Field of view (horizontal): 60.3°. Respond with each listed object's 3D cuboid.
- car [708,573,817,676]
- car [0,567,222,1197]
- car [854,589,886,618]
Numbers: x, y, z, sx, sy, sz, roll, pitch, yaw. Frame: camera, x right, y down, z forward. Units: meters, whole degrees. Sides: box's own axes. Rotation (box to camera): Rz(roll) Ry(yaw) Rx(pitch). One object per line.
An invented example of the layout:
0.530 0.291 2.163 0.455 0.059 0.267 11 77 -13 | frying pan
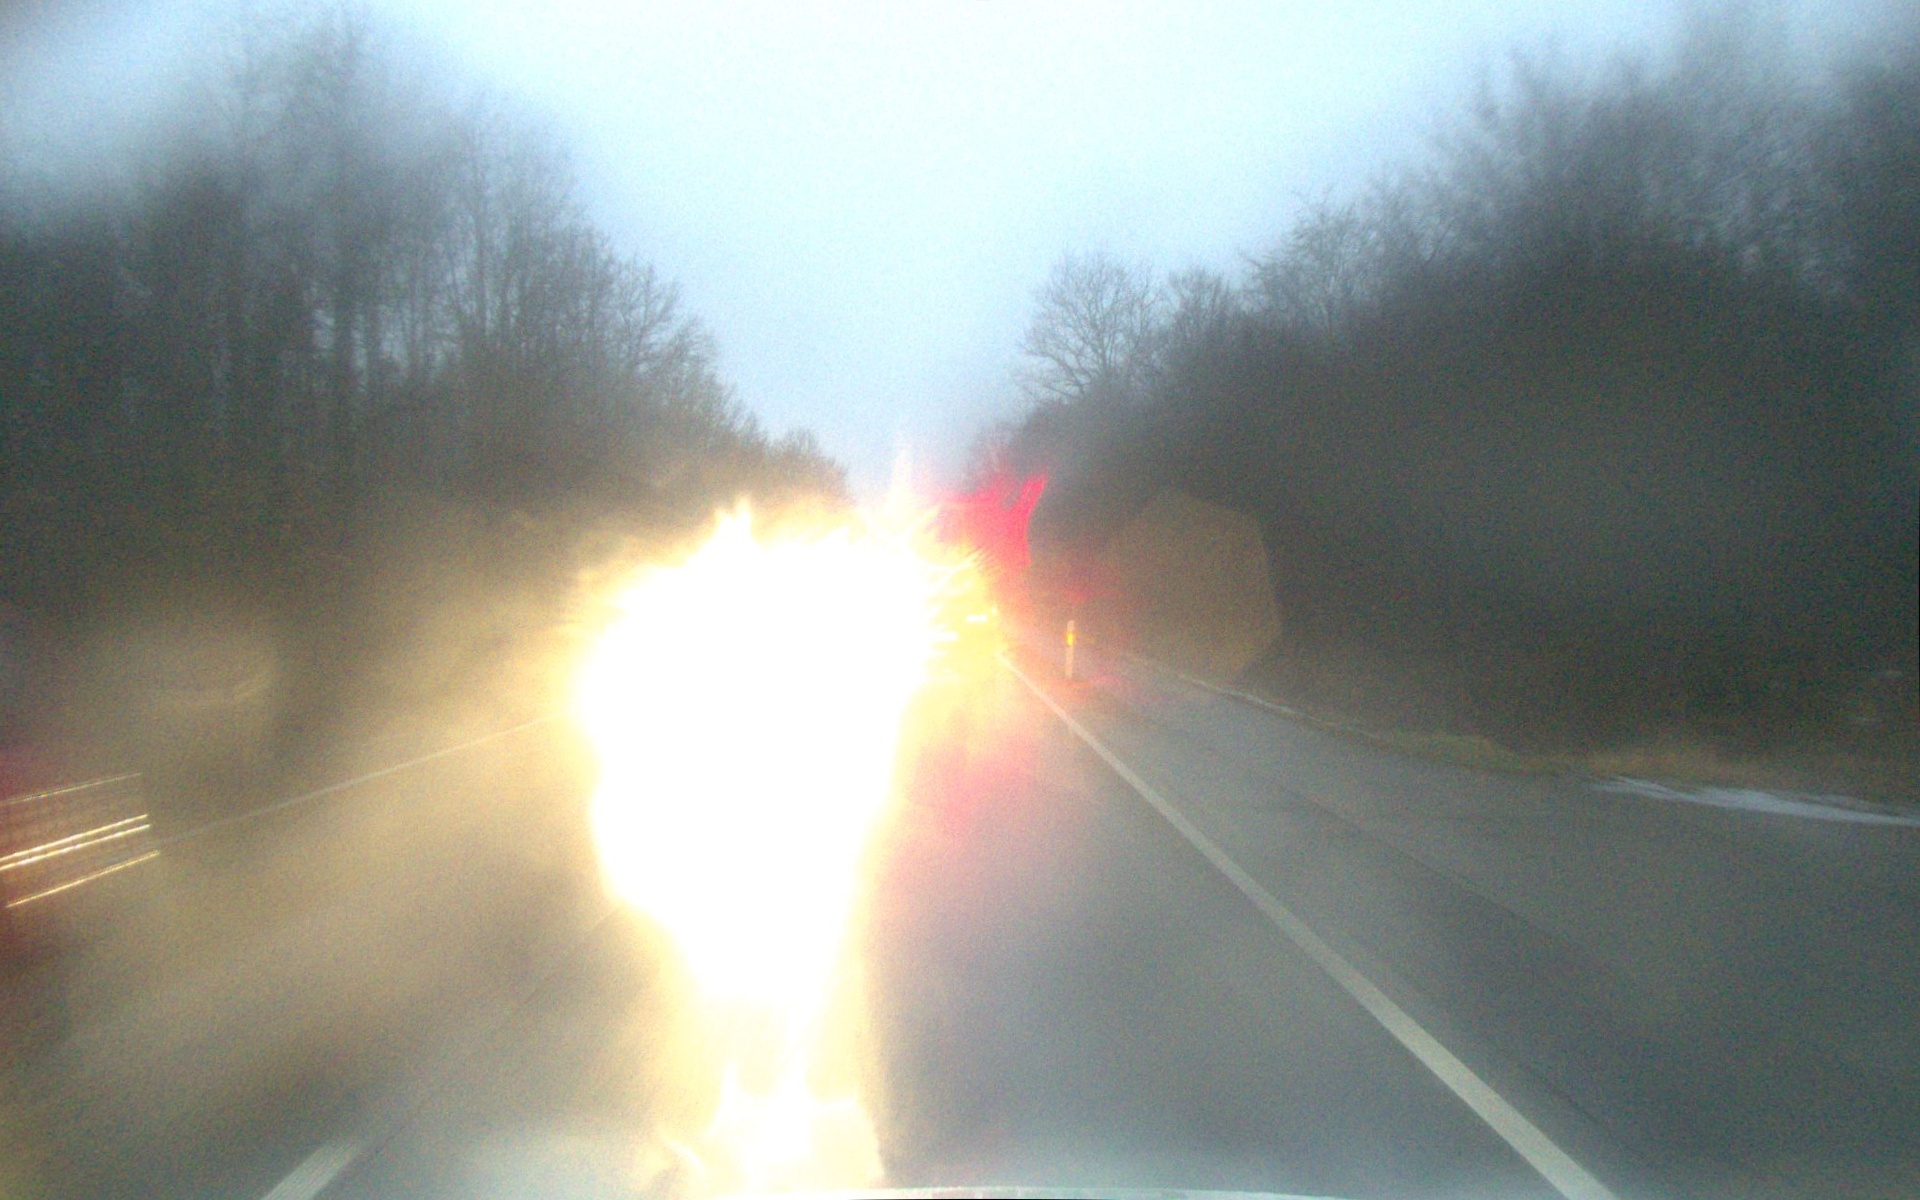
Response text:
-3.881 0.468 33.066 1.672 1.854 4.284 -2 0 -1 | car
-3.185 0.736 3.426 1.549 1.577 3.999 -2 0 -2 | car
-4.670 0.164 86.001 1.586 1.413 4.070 -1 1 -2 | car
